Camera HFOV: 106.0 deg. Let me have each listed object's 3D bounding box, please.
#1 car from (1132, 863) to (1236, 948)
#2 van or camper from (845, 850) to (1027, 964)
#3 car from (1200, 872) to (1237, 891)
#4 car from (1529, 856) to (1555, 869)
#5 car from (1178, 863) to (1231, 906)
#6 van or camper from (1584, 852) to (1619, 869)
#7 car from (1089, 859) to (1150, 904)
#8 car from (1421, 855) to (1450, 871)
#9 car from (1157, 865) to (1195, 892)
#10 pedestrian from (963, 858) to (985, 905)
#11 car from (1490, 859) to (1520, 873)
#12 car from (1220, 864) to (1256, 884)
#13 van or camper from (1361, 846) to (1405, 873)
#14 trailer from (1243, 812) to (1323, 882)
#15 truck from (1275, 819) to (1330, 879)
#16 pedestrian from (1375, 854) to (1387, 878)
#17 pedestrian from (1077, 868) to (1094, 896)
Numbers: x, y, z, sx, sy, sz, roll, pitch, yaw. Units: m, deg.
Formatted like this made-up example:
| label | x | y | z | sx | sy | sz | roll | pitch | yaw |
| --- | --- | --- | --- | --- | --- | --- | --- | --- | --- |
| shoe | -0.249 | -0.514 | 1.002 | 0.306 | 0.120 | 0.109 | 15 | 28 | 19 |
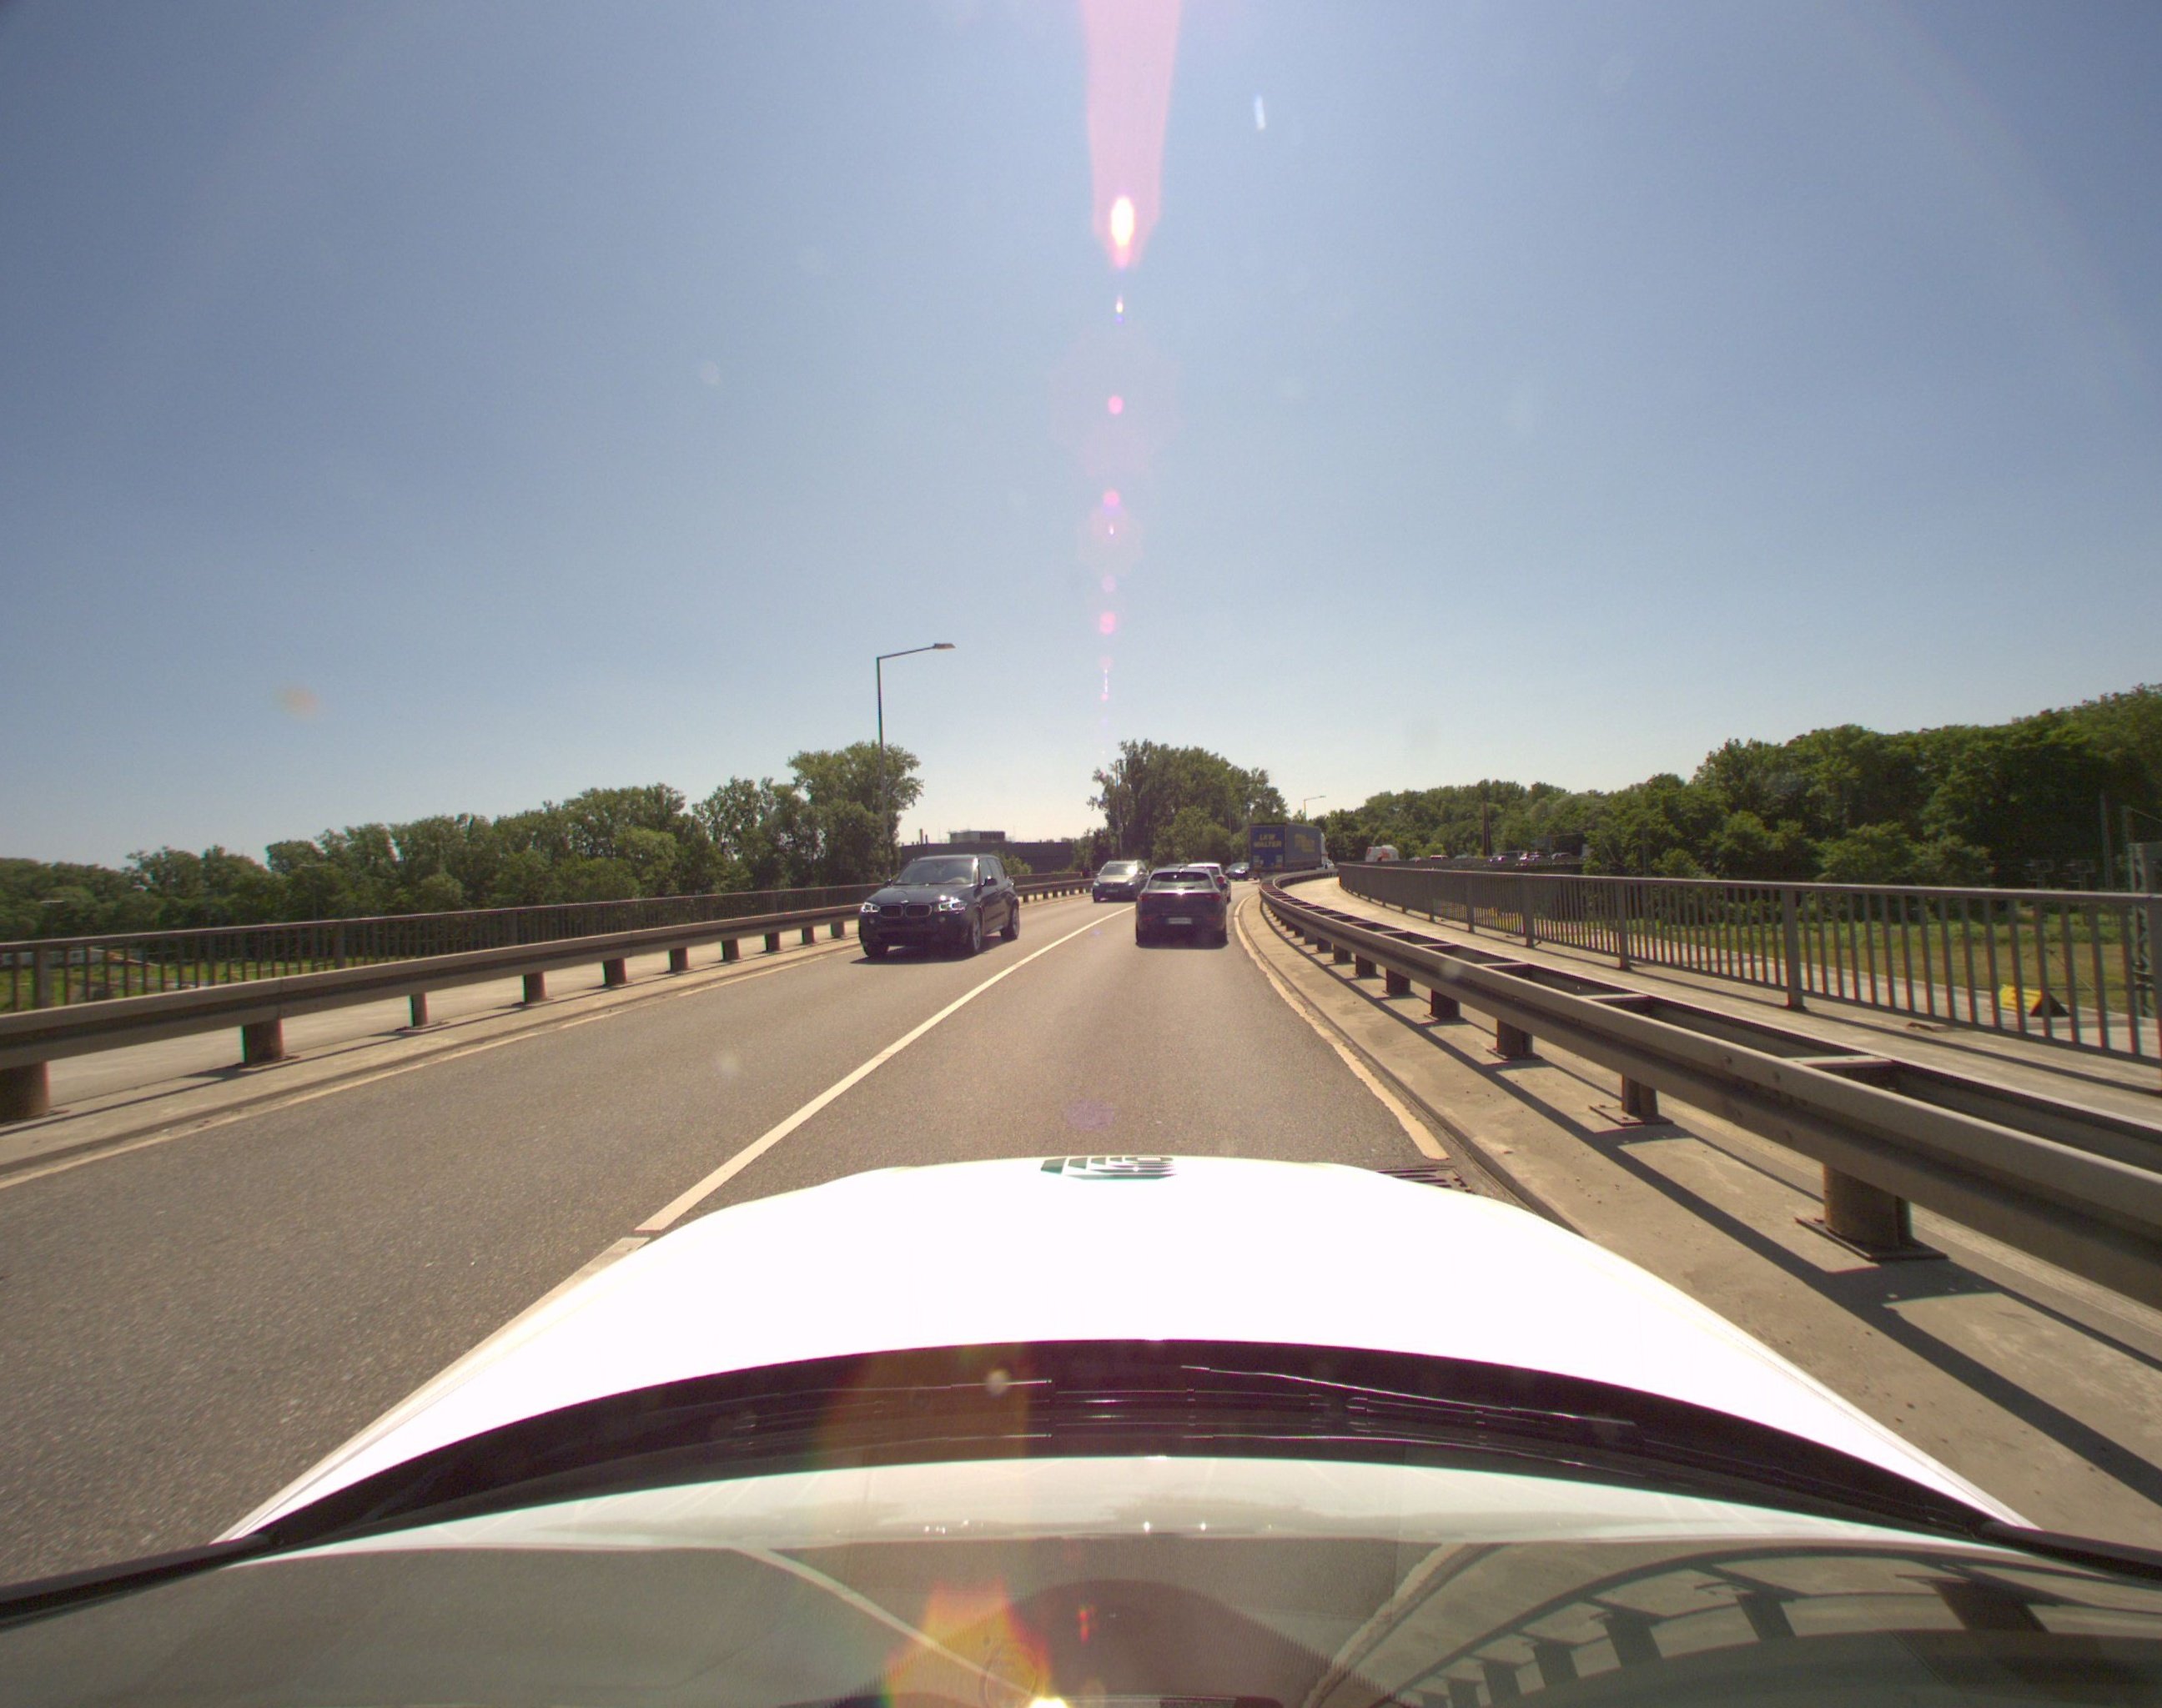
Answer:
| label | x | y | z | sx | sy | sz | roll | pitch | yaw |
| --- | --- | --- | --- | --- | --- | --- | --- | --- | --- |
| car | 1.974 | 0.951 | 16.622 | 1.838 | 1.499 | 3.761 | -1 | 0 | 3 |
| van or camper | -2.500 | 0.902 | 15.380 | 1.982 | 1.761 | 4.707 | -2 | -1 | 8 |
| car | 11.467 | 2.275 | 67.556 | 1.773 | 1.415 | 4.601 | -3 | -2 | 26 |
| car | 65.829 | 1.262 | 116.282 | 4.019 | 1.850 | 1.873 | 1 | -2 | -38 |
| car | 4.541 | 1.077 | 29.531 | 1.582 | 1.461 | 3.557 | 0 | -1 | 14 |
| van or camper | 83.707 | 1.008 | 131.007 | 4.969 | 2.292 | 2.472 | 4 | 2 | -27 |
| car | 1.637 | 1.117 | 33.063 | 1.884 | 1.655 | 4.269 | -2 | -2 | 10 |
| car | 42.451 | 1.099 | 97.500 | 1.871 | 1.850 | 4.024 | -2 | -2 | 43 |
| car | 5.629 | 1.428 | 47.946 | 1.777 | 1.419 | 3.786 | -3 | -2 | 13 |
| pedestrian | -4.116 | 1.070 | 31.382 | 0.634 | 1.783 | 0.814 | -1 | -2 | 10 |
| car | 57.361 | 1.580 | 110.214 | 4.016 | 1.850 | 1.875 | 0 | -2 | -34 |
| car | 12.087 | 1.522 | 62.554 | 1.773 | 1.419 | 3.795 | -3 | -2 | 25 |
| van or camper | 31.866 | 0.569 | 85.835 | 2.182 | 2.711 | 5.961 | -2 | -1 | 43 |
| trailer | 15.133 | -0.377 | 59.934 | 3.105 | 4.614 | 13.022 | -1 | -1 | 25 |
| truck | 18.094 | -0.295 | 66.184 | 3.141 | 4.585 | 7.438 | -1 | -1 | 24 |
| pedestrian | 25.356 | 1.028 | 68.834 | 0.730 | 1.967 | 0.739 | -1 | -2 | 31 |
| pedestrian | 0.262 | 1.584 | 46.145 | 0.708 | 1.562 | 0.698 | -3 | -2 | 18 |
